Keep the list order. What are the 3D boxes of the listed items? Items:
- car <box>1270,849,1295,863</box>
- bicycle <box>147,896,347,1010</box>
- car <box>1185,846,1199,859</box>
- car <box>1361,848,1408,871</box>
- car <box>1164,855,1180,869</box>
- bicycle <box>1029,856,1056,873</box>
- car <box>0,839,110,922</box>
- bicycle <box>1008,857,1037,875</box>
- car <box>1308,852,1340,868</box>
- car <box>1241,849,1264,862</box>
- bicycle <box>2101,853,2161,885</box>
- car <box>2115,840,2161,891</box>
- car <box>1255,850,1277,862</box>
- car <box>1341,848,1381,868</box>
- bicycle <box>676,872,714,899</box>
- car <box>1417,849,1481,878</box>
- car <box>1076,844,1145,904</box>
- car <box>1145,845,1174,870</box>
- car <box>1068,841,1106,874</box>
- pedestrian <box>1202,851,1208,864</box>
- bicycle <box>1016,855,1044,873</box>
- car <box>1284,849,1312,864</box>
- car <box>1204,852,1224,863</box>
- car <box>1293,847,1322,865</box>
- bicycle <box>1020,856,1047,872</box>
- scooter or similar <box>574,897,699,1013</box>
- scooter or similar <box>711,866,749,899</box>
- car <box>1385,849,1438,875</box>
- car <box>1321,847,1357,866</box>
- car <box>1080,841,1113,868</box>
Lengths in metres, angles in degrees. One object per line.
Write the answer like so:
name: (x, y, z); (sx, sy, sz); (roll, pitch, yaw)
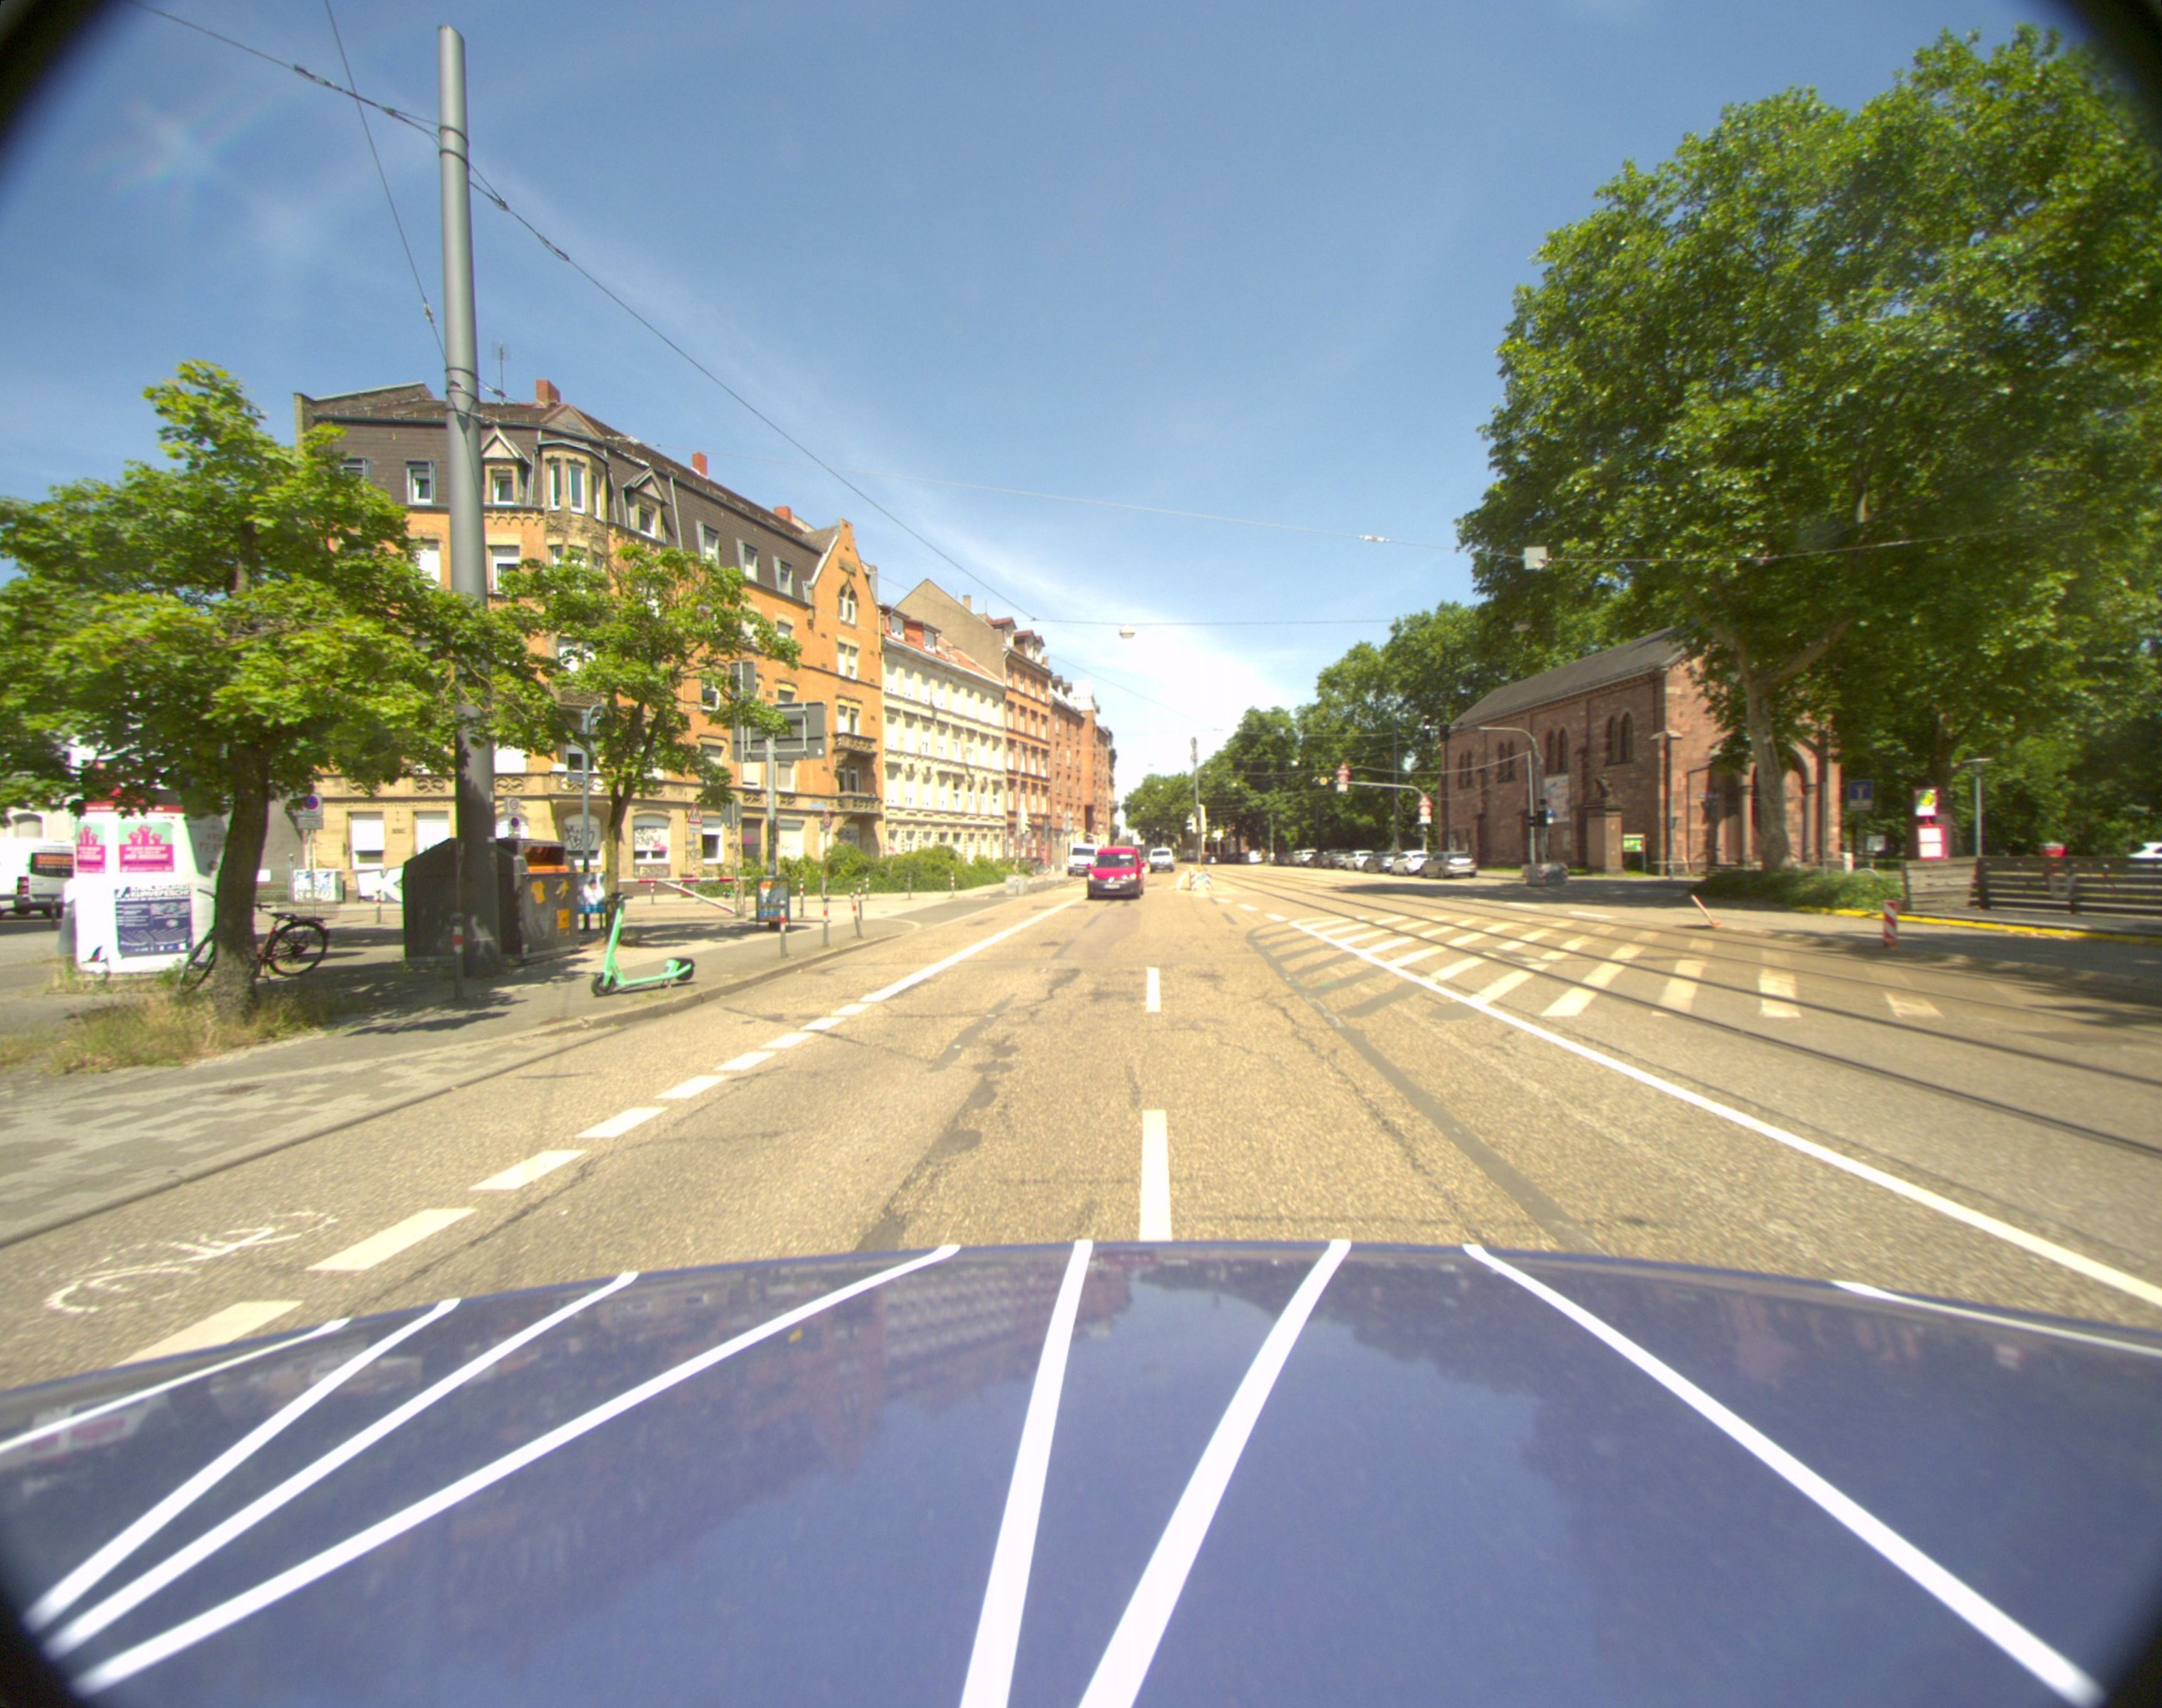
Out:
car: (22.194, 0.185, 83.844); (1.747, 1.489, 4.188); (-2, 0, 2)
bicycle: (-10.039, 1.140, 9.248); (0.487, 1.146, 1.708); (-2, 0, 1)
car: (19.343, -0.260, 132.255); (1.821, 2.284, 3.762); (-2, 0, 1)
car: (20.501, 0.363, 51.531); (1.662, 1.450, 4.059); (-2, 0, 2)
car: (11.028, 0.987, 92.088); (1.799, 1.565, 4.001); (-2, 0, 5)
bicycle: (-2.861, 0.764, 56.495); (1.918, 1.174, 0.493); (-2, 1, 8)
car: (-35.979, 0.896, 25.014); (5.215, 2.607, 1.999); (-2, 1, -2)
bicycle: (-4.048, 0.837, 52.924); (1.918, 1.174, 0.493); (-2, 1, 8)
car: (21.507, 0.521, 67.463); (1.671, 1.368, 4.000); (-2, 0, 2)
car: (21.554, 0.182, 95.688); (1.977, 1.554, 4.000); (-2, 0, 0)
bicycle: (31.442, 0.429, 22.169); (0.644, 0.895, 1.905); (-2, 0, -17)
car: (34.146, 0.323, 22.185); (1.918, 1.499, 4.525); (-2, 0, -31)
car: (21.604, 0.243, 88.831); (1.649, 1.372, 3.766); (-2, 0, 2)
car: (21.010, 0.281, 57.102); (1.747, 1.450, 3.754); (-2, 0, 2)
bicycle: (-15.427, 1.259, 30.407); (0.490, 0.986, 1.489); (-2, 0, 12)
car: (20.094, 0.483, 41.672); (1.662, 1.450, 4.222); (-2, 0, 4)
car: (1.141, 0.611, 26.372); (1.858, 1.823, 5.169); (-2, 0, 7)
car: (6.520, 0.278, 62.835); (2.164, 1.926, 4.857); (-2, 0, 8)
car: (0.518, 0.221, 56.150); (1.997, 2.317, 5.410); (2, 1, 8)
pedestrian: (19.749, 0.498, 121.068); (0.952, 2.002, 0.760); (-2, 1, 6)
bicycle: (-3.645, 0.712, 54.200); (1.918, 1.174, 0.493); (-2, 1, 8)
car: (22.143, 0.225, 77.666); (1.747, 1.489, 4.188); (-2, 0, 2)
car: (16.967, 0.427, 97.288); (1.750, 1.387, 4.347); (-2, 0, 1)
car: (21.646, 0.155, 72.721); (1.746, 1.643, 3.906); (-2, 0, 4)
bicycle: (-3.498, 0.737, 55.829); (1.918, 1.174, 0.493); (-2, 1, 8)
scooter or similar: (-5.133, 1.128, 8.830); (0.390, 1.207, 1.182); (3, 0, 27)
scooter or similar: (-13.354, 1.077, 28.941); (0.490, 1.198, 1.489); (-2, 0, 12)
car: (20.259, 0.452, 46.699); (1.662, 1.450, 4.059); (-2, 0, 4)
car: (21.061, 0.193, 62.190); (1.747, 1.515, 3.754); (-2, 0, 2)
car: (1.336, 0.015, 62.625); (1.997, 2.123, 5.275); (2, 1, 8)
